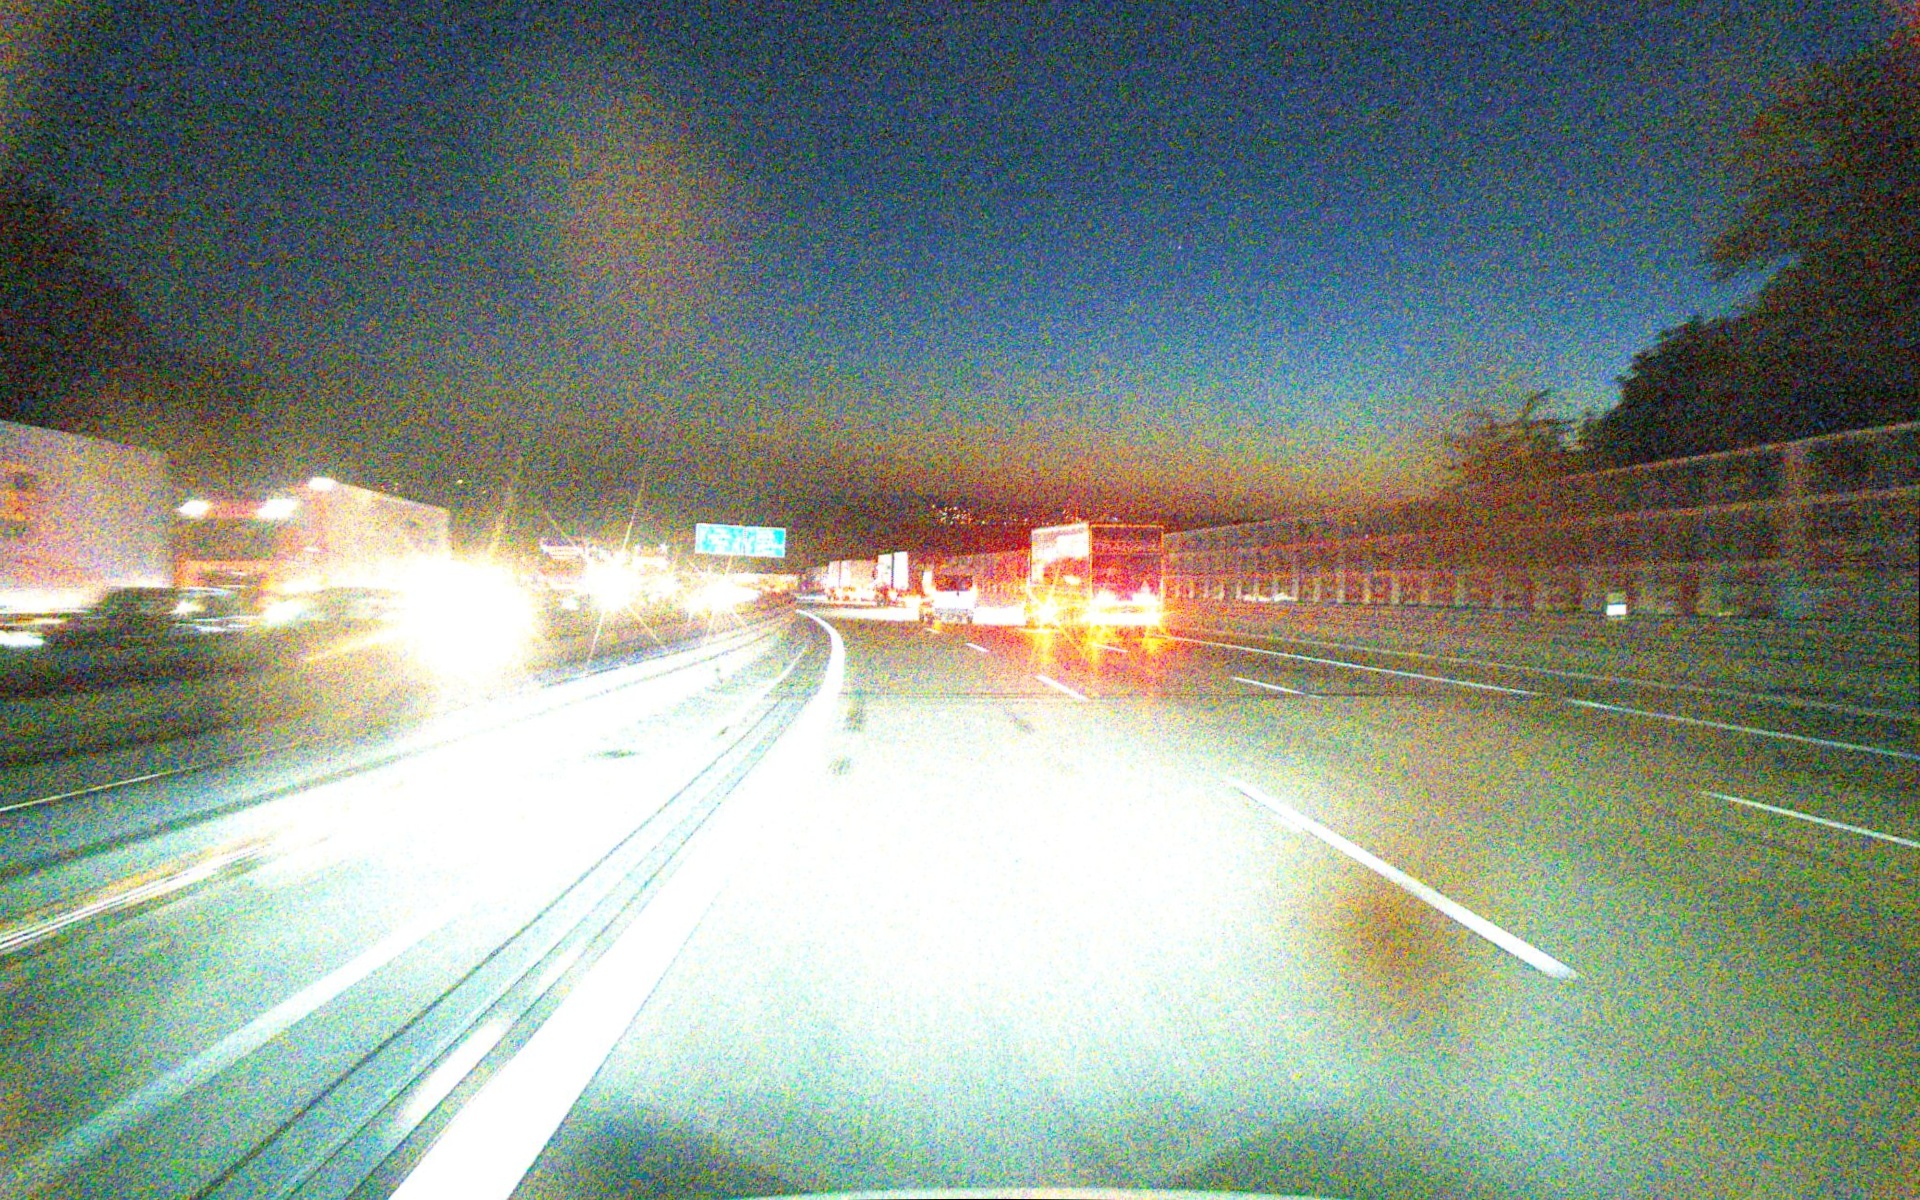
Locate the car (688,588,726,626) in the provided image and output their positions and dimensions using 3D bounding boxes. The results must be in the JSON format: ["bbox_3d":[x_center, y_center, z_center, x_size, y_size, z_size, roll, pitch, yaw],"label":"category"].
[{"bbox_3d":[-13.622,0.407,89.231,1.840,1.956,5.595,1,-1,-7],"label":"car"}]

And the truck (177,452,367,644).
[{"bbox_3d":[-16.724,-1.159,40.620,2.565,4.344,5.951,0,0,-5],"label":"truck"}]

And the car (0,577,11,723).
[{"bbox_3d":[-10.905,0.488,14.872,1.865,1.518,4.937,0,-1,0],"label":"car"}]

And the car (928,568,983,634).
[{"bbox_3d":[-0.230,0.095,73.608,2.290,2.686,5.245,2,-2,-1],"label":"car"}]

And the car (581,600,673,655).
[{"bbox_3d":[-9.632,0.787,48.149,1.865,1.518,4.865,0,-1,-2],"label":"car"}]

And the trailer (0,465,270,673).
[{"bbox_3d":[-20.625,-0.582,40.398,2.784,4.245,13.272,-2,0,-4],"label":"trailer"}]

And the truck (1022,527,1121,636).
[{"bbox_3d":[4.398,-0.710,66.646,2.806,4.148,7.502,0,0,-5],"label":"truck"}]

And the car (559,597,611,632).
[{"bbox_3d":[-16.970,0.639,74.983,1.868,1.518,4.859,1,-1,-8],"label":"car"}]

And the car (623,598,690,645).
[{"bbox_3d":[-10.616,0.792,58.173,1.593,1.518,4.864,2,-2,-2],"label":"car"}]

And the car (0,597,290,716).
[{"bbox_3d":[-11.523,0.749,23.645,1.865,1.518,4.867,0,-1,0],"label":"car"}]

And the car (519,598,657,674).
[{"bbox_3d":[-7.955,0.756,35.821,1.865,1.518,4.867,0,-1,0],"label":"car"}]

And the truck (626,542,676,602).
[{"bbox_3d":[-23.604,-2.070,126.622,3.050,4.169,7.064,4,-2,-7],"label":"truck"}]

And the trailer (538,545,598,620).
[{"bbox_3d":[-21.893,-0.973,92.650,2.769,3.986,8.718,0,0,-10],"label":"trailer"}]

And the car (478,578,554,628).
[{"bbox_3d":[-18.886,0.155,70.588,1.865,1.920,5.019,2,-2,-1],"label":"car"}]

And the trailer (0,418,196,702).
[{"bbox_3d":[-15.807,-0.607,24.714,2.818,4.257,14.513,0,0,-3],"label":"trailer"}]

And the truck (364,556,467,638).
[{"bbox_3d":[-22.876,-0.130,69.872,2.446,3.275,7.904,0,0,-5],"label":"truck"}]

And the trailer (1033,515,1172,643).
[{"bbox_3d":[4.954,-0.689,60.551,2.798,4.138,13.191,0,0,-5],"label":"trailer"}]

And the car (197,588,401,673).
[{"bbox_3d":[-12.778,0.570,32.389,1.865,1.518,5.259,0,-1,0],"label":"car"}]

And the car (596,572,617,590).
[{"bbox_3d":[-31.644,-1.687,148.092,1.622,1.503,3.767,0,0,-8],"label":"car"}]

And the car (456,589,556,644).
[{"bbox_3d":[-13.269,0.480,48.595,1.866,1.518,4.863,1,-1,-4],"label":"car"}]

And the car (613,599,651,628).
[{"bbox_3d":[-17.227,0.737,87.016,1.597,1.374,3.994,4,-2,-7],"label":"car"}]

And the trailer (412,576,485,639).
[{"bbox_3d":[-23.535,0.345,76.242,2.318,2.792,4.985,0,0,-7],"label":"trailer"}]

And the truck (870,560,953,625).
[{"bbox_3d":[-4.028,-0.639,129.363,3.843,4.708,20.974,0,1,-9],"label":"truck"}]

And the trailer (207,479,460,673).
[{"bbox_3d":[-17.415,-0.564,47.456,2.785,4.542,14.506,-3,0,-5],"label":"trailer"}]

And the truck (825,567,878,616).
[{"bbox_3d":[-11.169,-0.875,169.106,3.286,4.554,13.868,3,0,-12],"label":"truck"}]

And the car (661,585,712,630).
[{"bbox_3d":[-12.425,0.351,75.313,1.839,1.956,4.863,1,-1,-4],"label":"car"}]

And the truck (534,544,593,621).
[{"bbox_3d":[-21.135,-0.933,88.434,2.776,3.985,4.923,0,0,-10],"label":"truck"}]

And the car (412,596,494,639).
[{"bbox_3d":[-18.521,0.612,60.613,1.866,1.518,4.863,0,0,-5],"label":"car"}]

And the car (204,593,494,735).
[{"bbox_3d":[-7.251,0.712,20.219,1.865,1.518,4.865,0,-1,-2],"label":"car"}]
